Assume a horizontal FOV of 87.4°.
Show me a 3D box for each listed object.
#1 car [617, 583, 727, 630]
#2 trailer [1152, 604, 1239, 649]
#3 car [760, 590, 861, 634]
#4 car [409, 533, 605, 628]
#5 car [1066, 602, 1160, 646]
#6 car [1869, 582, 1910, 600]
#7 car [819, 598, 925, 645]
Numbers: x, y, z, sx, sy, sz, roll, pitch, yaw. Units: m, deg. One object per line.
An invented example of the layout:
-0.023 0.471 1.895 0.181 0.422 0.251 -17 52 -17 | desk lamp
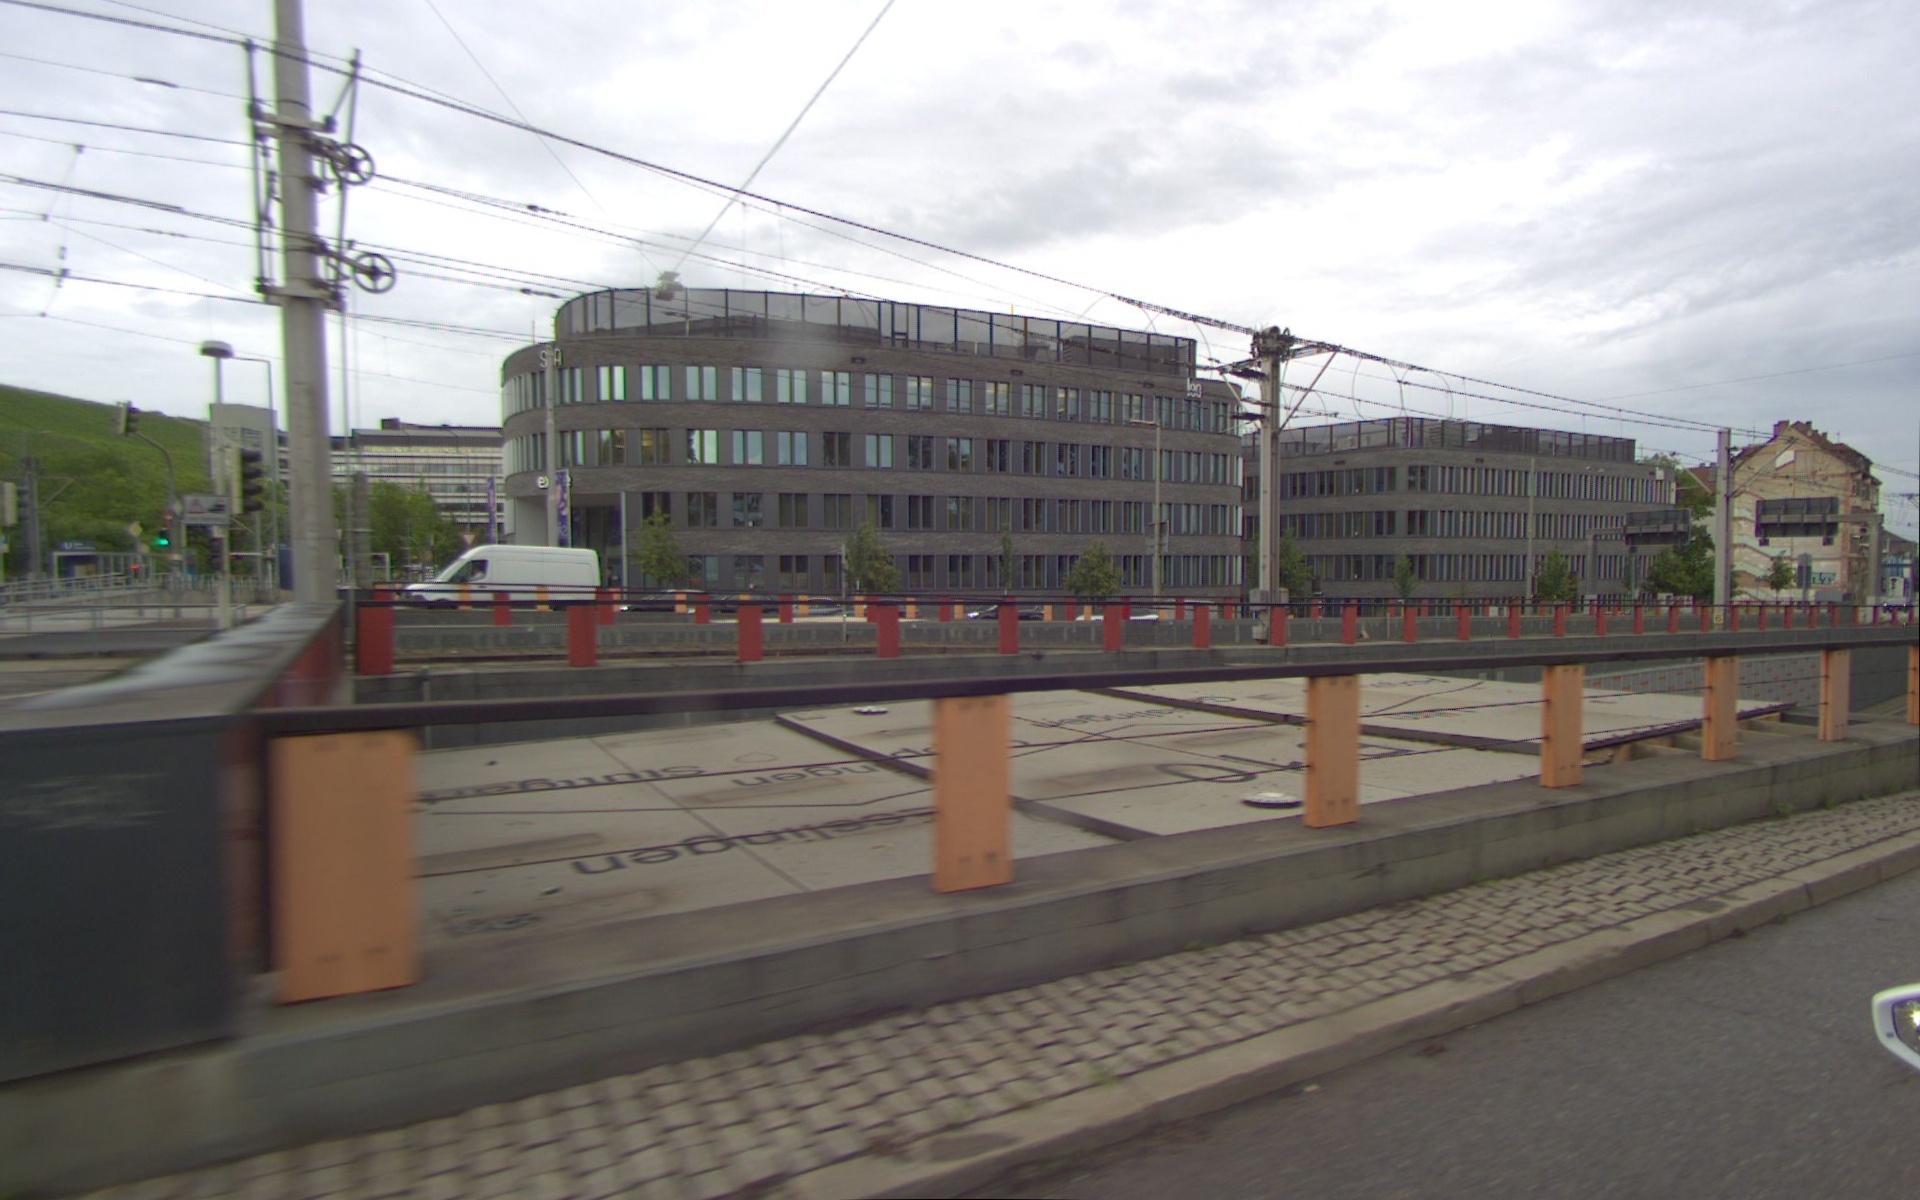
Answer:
-11.346 0.266 39.607 3.788 1.606 1.816 4 0 -31 | car
11.909 1.341 50.740 4.230 2.102 1.814 2 1 -34 | trailer
-6.308 0.505 42.476 3.788 1.606 1.815 2 3 -31 | car
-14.898 -0.547 33.186 5.656 2.869 1.982 1 -1 -33 | car
7.254 1.141 47.602 4.231 1.772 1.814 4 0 -34 | car
86.793 -0.817 93.821 3.787 1.606 1.816 -1 2 -31 | car
-3.532 0.863 40.360 3.788 1.606 1.816 4 0 -31 | car
